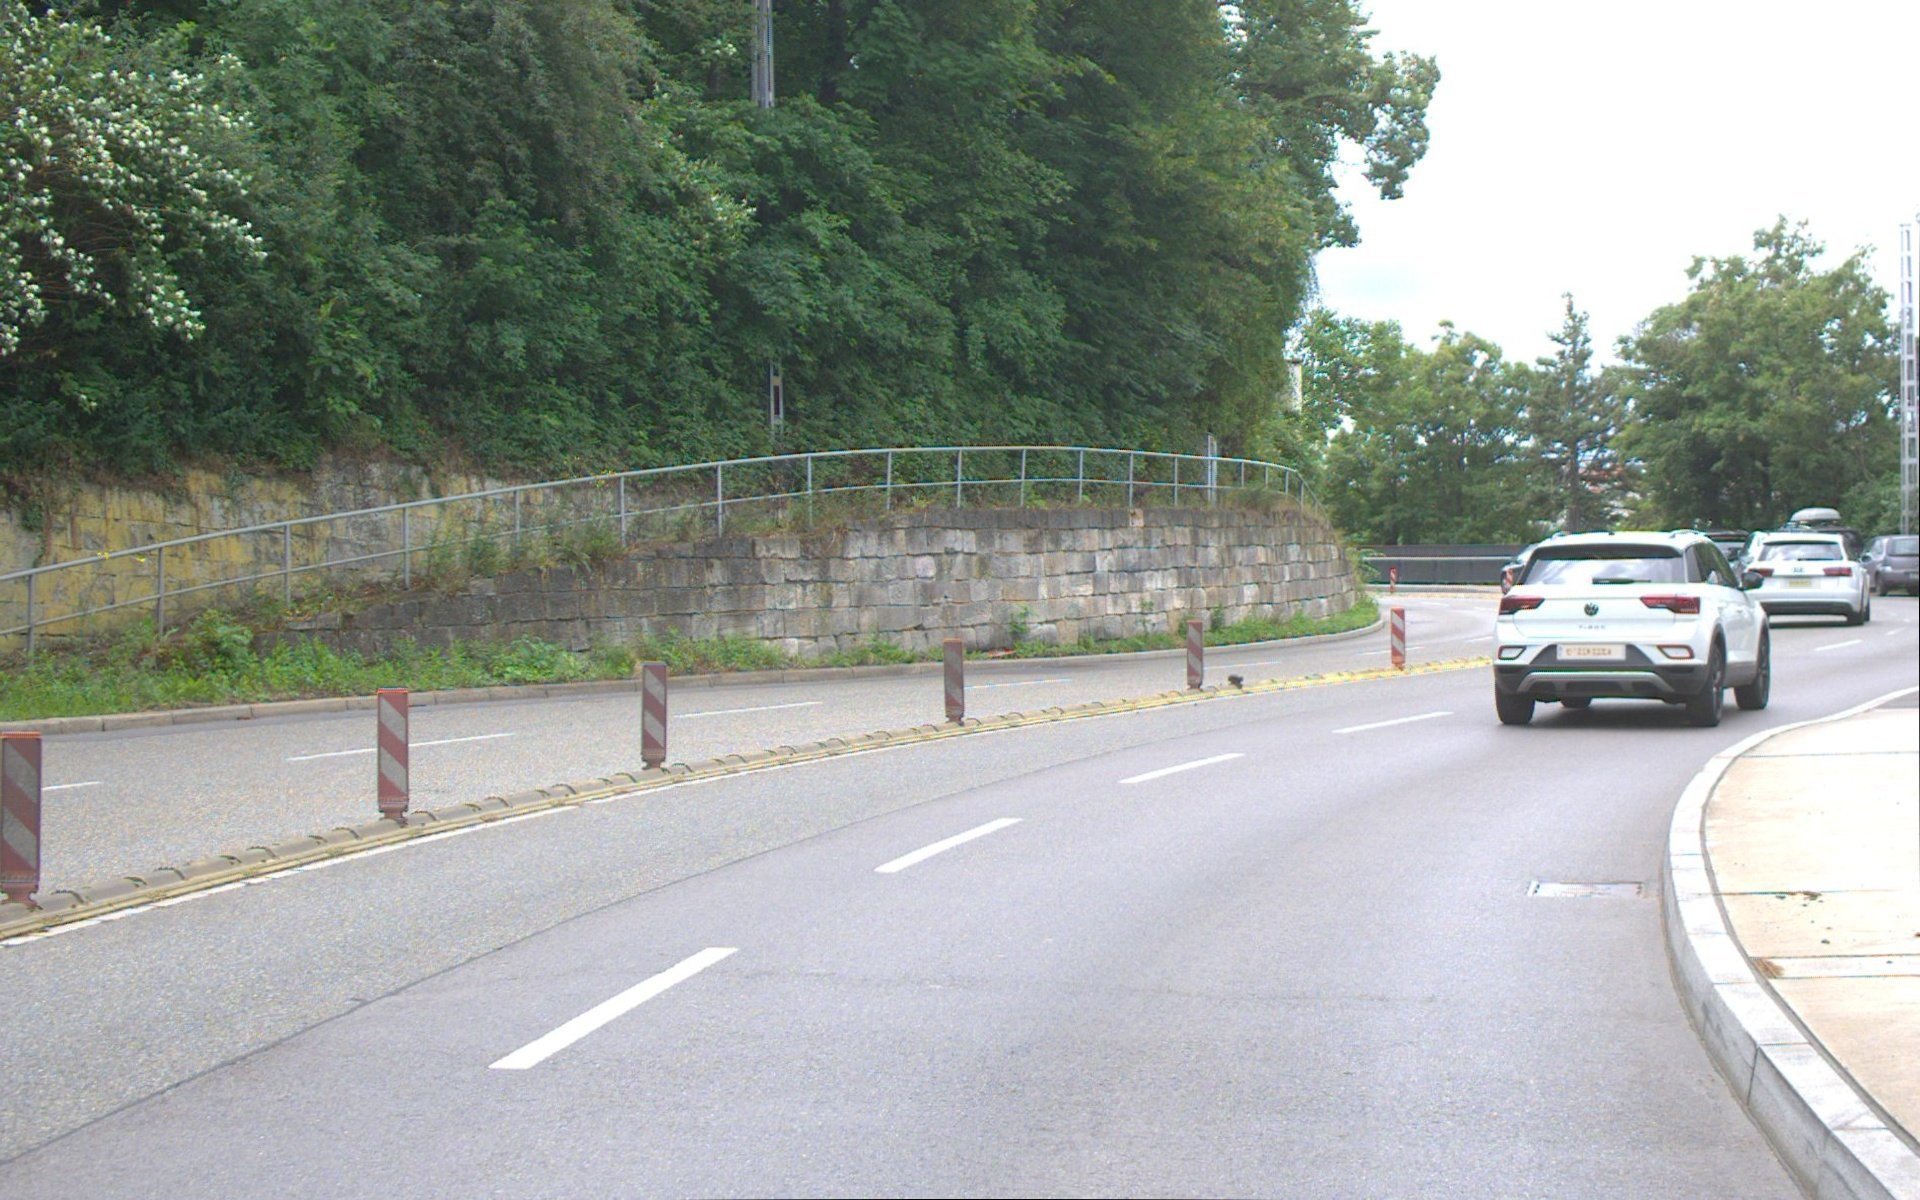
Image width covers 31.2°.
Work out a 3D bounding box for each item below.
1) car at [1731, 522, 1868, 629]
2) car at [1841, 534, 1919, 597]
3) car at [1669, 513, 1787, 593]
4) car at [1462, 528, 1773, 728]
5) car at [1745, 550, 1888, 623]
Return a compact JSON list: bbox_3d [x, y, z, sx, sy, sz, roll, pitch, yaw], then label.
[{"bbox_3d":[13.297,-0.372,54.312,1.908,1.568,3.997,2,0,16],"label":"car"},{"bbox_3d":[22.228,-0.805,81.687,1.641,1.459,4.000,1,0,1],"label":"car"},{"bbox_3d":[17.136,-1.030,76.852,1.815,1.684,4.000,2,0,2],"label":"car"},{"bbox_3d":[5.538,0.186,28.608,1.869,1.531,3.799,1,1,21],"label":"car"},{"bbox_3d":[21.752,-0.358,87.478,1.798,1.766,4.608,1,0,-10],"label":"car"}]
